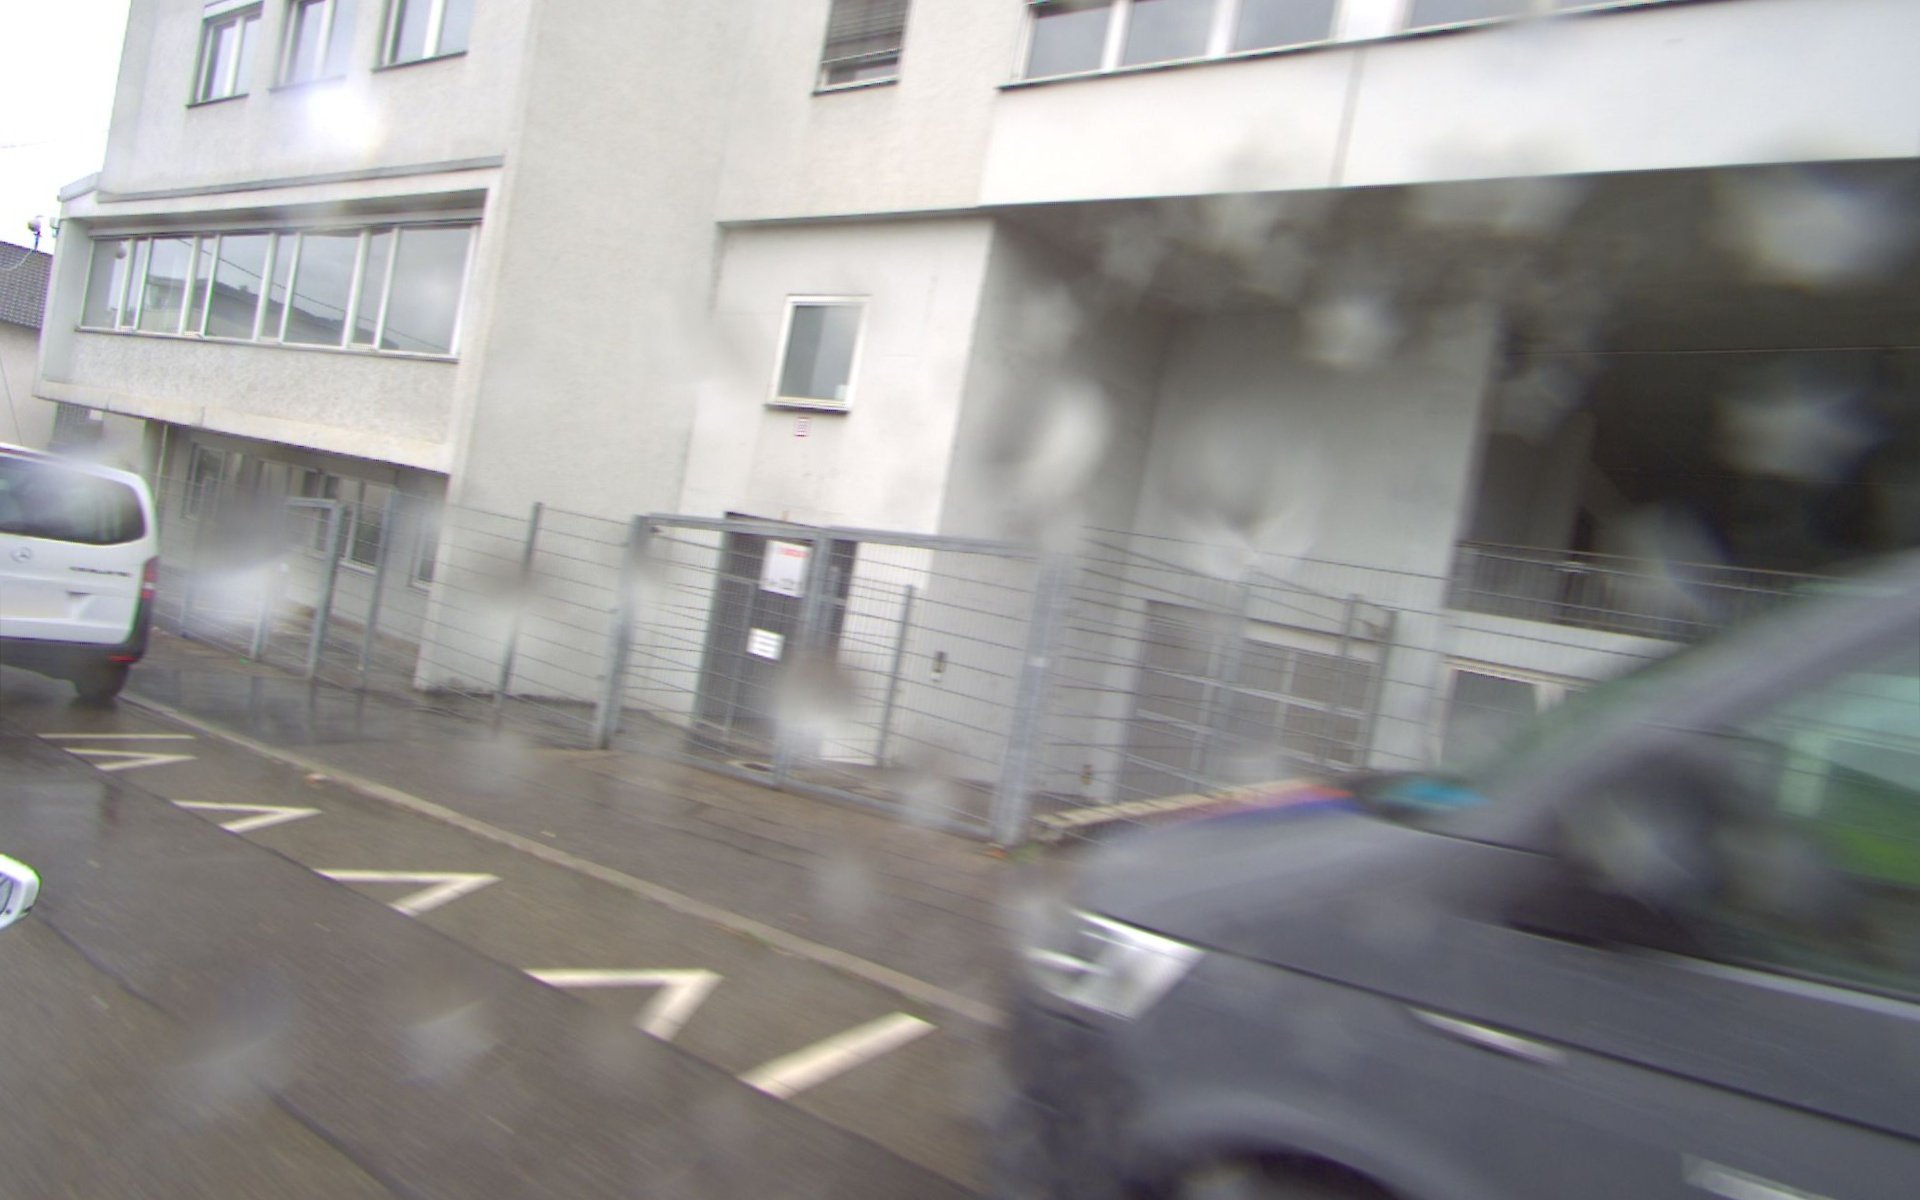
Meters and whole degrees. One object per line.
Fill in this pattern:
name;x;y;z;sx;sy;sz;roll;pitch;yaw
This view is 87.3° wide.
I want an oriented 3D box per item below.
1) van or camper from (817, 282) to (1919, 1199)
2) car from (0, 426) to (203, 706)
van or camper;2.470;0.869;1.559;5.115;2.139;1.996;8;0;31
car;-8.740;-0.480;8.501;4.894;1.958;1.997;7;-1;32
